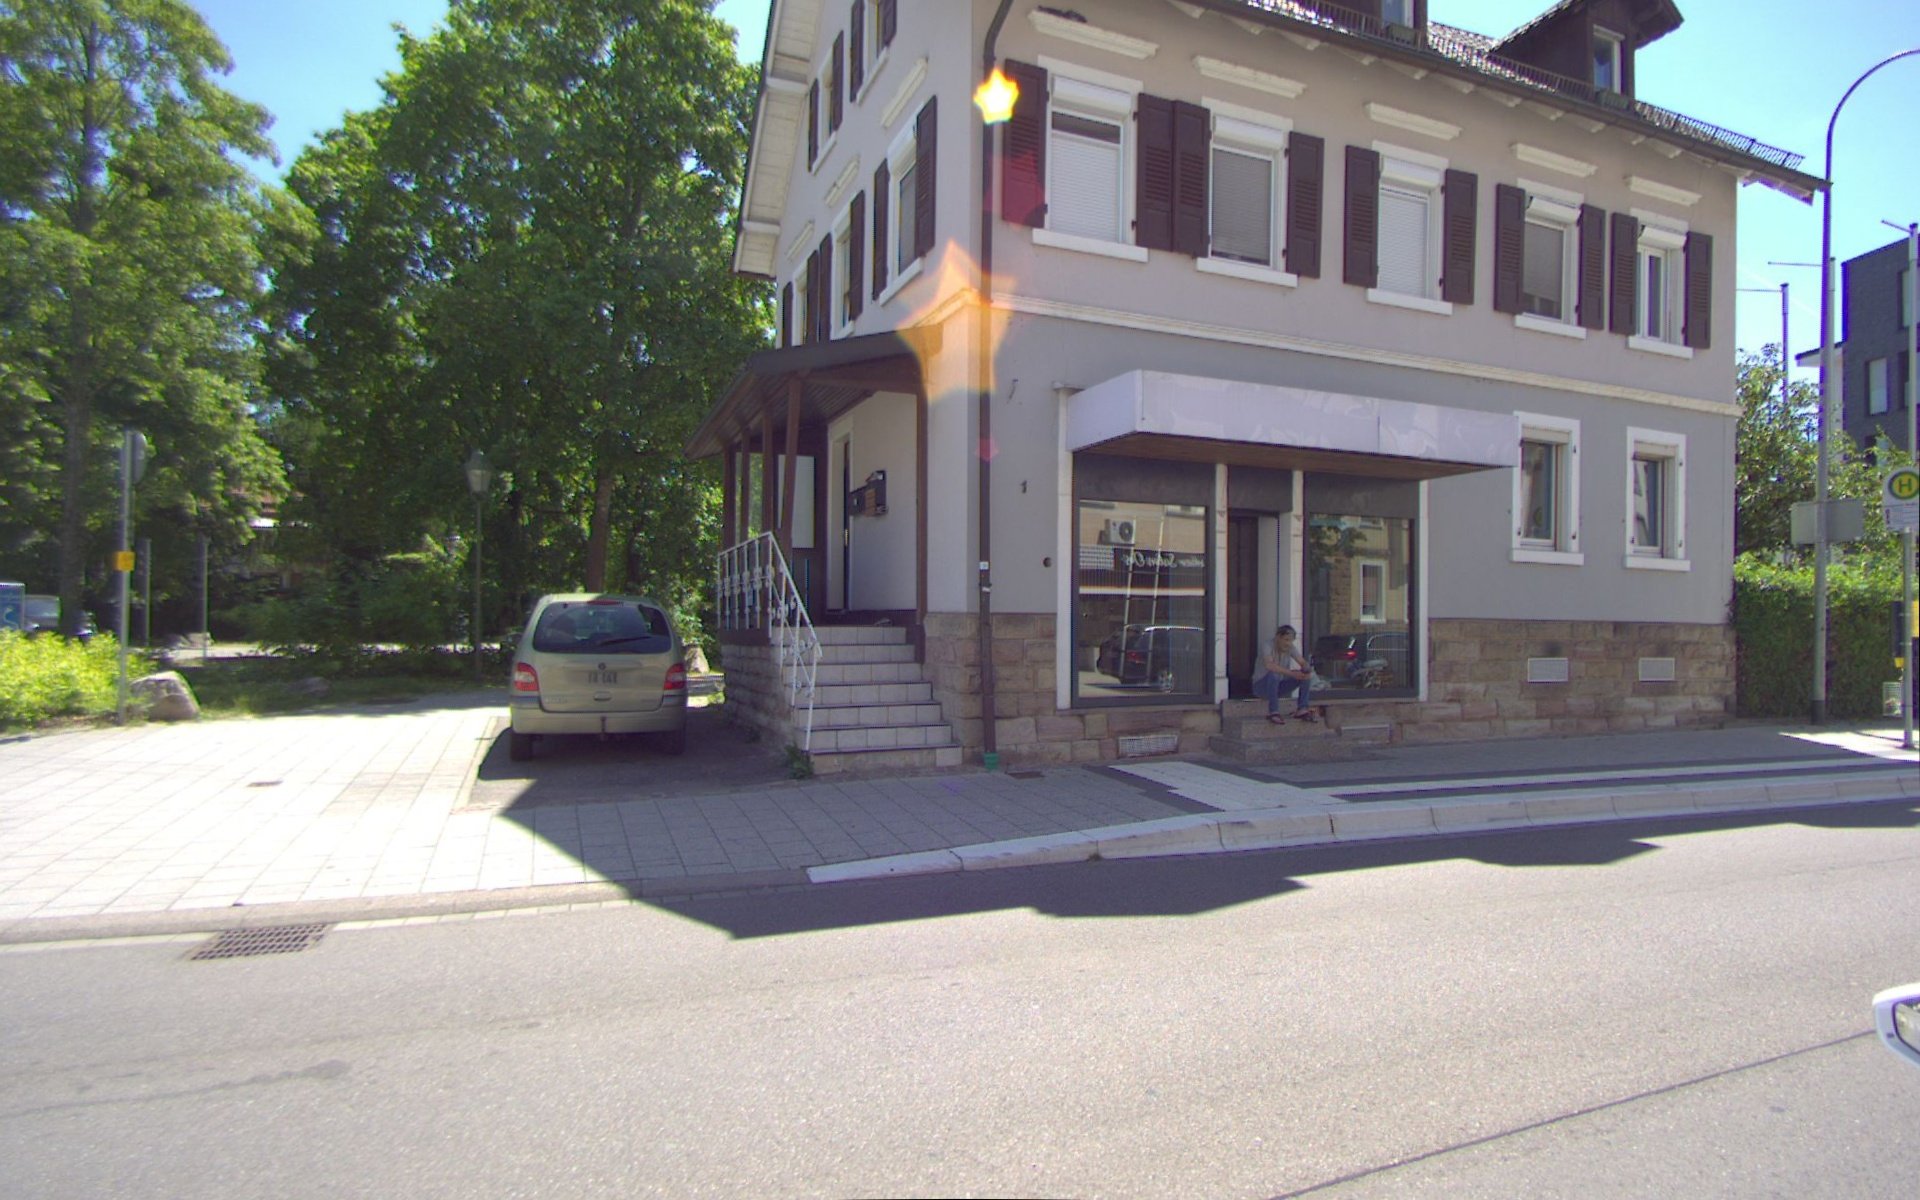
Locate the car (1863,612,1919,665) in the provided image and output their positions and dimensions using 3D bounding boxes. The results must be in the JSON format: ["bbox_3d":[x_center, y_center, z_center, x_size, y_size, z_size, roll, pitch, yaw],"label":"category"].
[{"bbox_3d":[30.677,1.196,30.738,4.083,1.590,2.001,1,-1,10],"label":"car"}]

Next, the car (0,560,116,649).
[{"bbox_3d":[-23.138,0.108,24.857,3.925,2.040,1.998,1,-1,25],"label":"car"}]

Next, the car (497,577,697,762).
[{"bbox_3d":[-4.086,0.652,11.236,1.732,1.662,3.979,1,-1,-22],"label":"car"}]

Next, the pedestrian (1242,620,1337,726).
[{"bbox_3d":[3.501,0.760,10.690,0.690,1.068,0.667,1,0,-26],"label":"pedestrian"}]

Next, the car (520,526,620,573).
[{"bbox_3d":[-18.442,-2.379,47.649,3.920,2.040,2.000,1,0,1],"label":"car"}]
